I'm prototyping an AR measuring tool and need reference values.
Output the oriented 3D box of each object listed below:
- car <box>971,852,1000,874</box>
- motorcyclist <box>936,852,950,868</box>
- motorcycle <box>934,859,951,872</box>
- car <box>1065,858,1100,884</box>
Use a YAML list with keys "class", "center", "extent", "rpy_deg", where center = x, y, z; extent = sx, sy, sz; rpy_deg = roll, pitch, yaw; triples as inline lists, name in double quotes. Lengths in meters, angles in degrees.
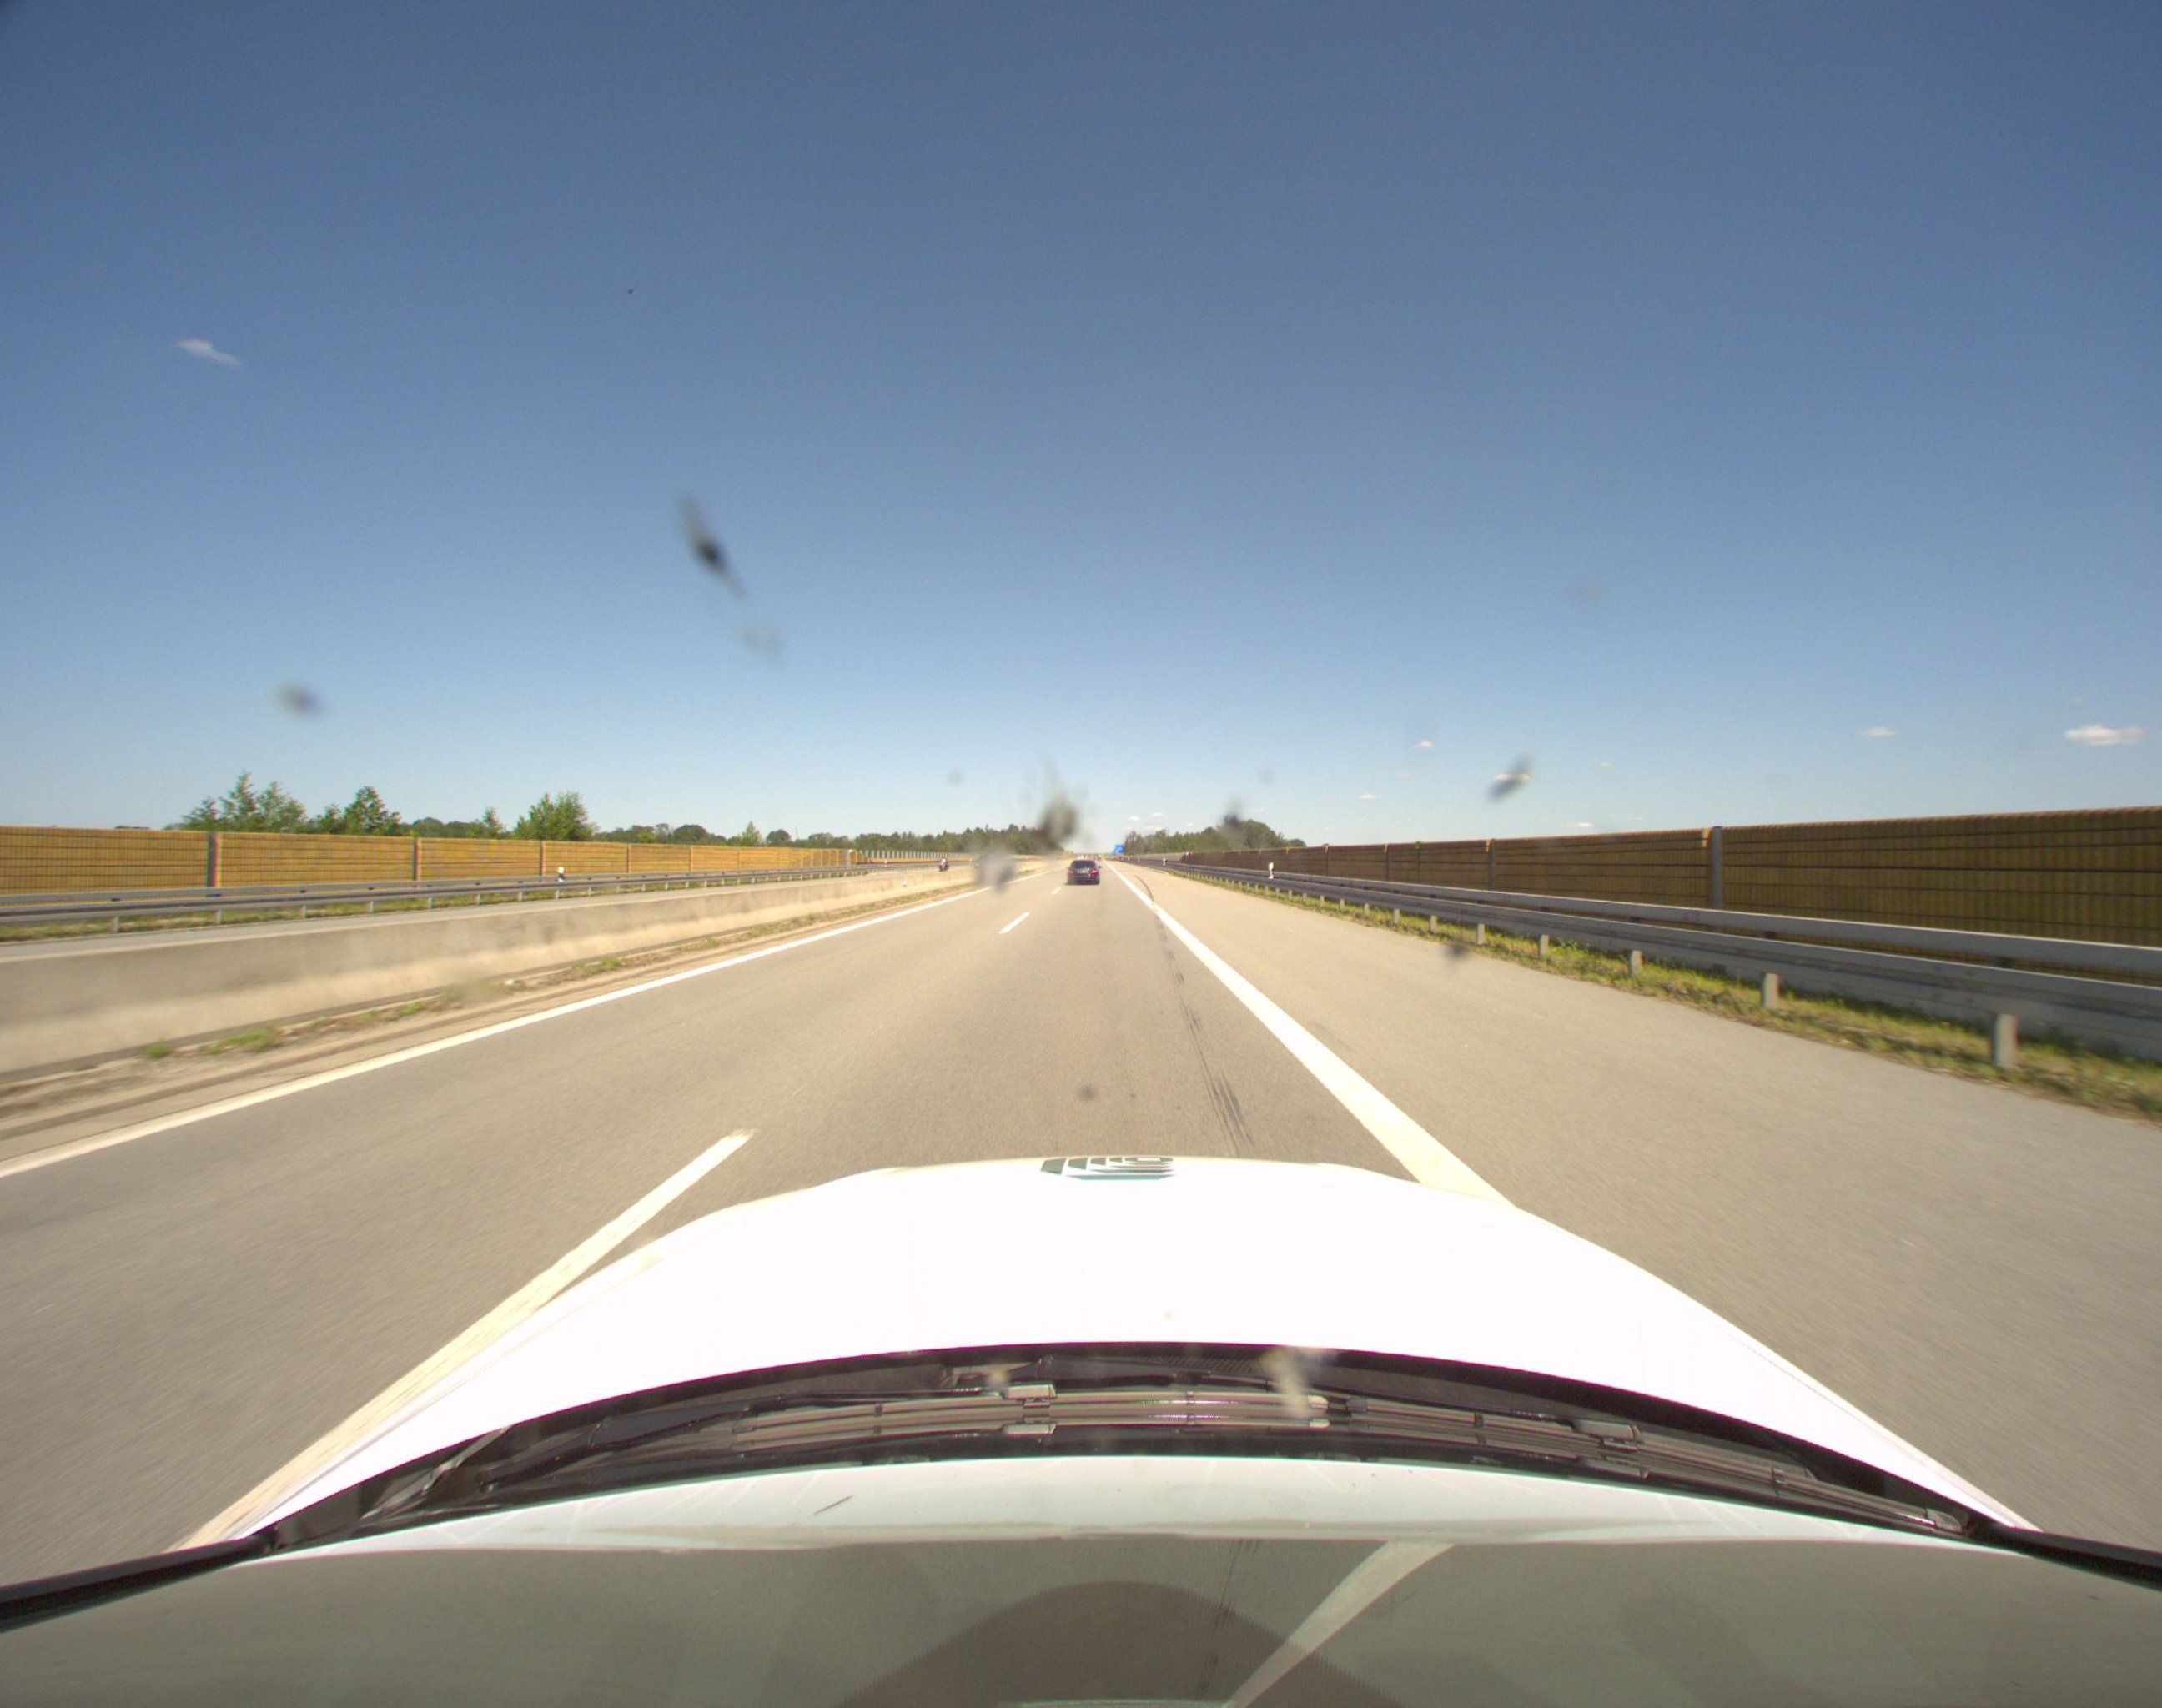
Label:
- class: "car"
  center: [-9.089, 0.884, 77.976]
  extent: [1.986, 2.014, 5.739]
  rpy_deg: [-1, 0, 2]
- class: "motorcyclist"
  center: [-13.006, 0.560, 76.648]
  extent: [1.008, 1.564, 1.429]
  rpy_deg: [-1, -1, 1]
- class: "motorcycle"
  center: [-12.994, 1.078, 76.701]
  extent: [1.009, 1.167, 2.869]
  rpy_deg: [-1, 0, 1]
- class: "car"
  center: [0.119, 0.932, 45.497]
  extent: [1.783, 1.374, 3.918]
  rpy_deg: [0, 0, 2]
